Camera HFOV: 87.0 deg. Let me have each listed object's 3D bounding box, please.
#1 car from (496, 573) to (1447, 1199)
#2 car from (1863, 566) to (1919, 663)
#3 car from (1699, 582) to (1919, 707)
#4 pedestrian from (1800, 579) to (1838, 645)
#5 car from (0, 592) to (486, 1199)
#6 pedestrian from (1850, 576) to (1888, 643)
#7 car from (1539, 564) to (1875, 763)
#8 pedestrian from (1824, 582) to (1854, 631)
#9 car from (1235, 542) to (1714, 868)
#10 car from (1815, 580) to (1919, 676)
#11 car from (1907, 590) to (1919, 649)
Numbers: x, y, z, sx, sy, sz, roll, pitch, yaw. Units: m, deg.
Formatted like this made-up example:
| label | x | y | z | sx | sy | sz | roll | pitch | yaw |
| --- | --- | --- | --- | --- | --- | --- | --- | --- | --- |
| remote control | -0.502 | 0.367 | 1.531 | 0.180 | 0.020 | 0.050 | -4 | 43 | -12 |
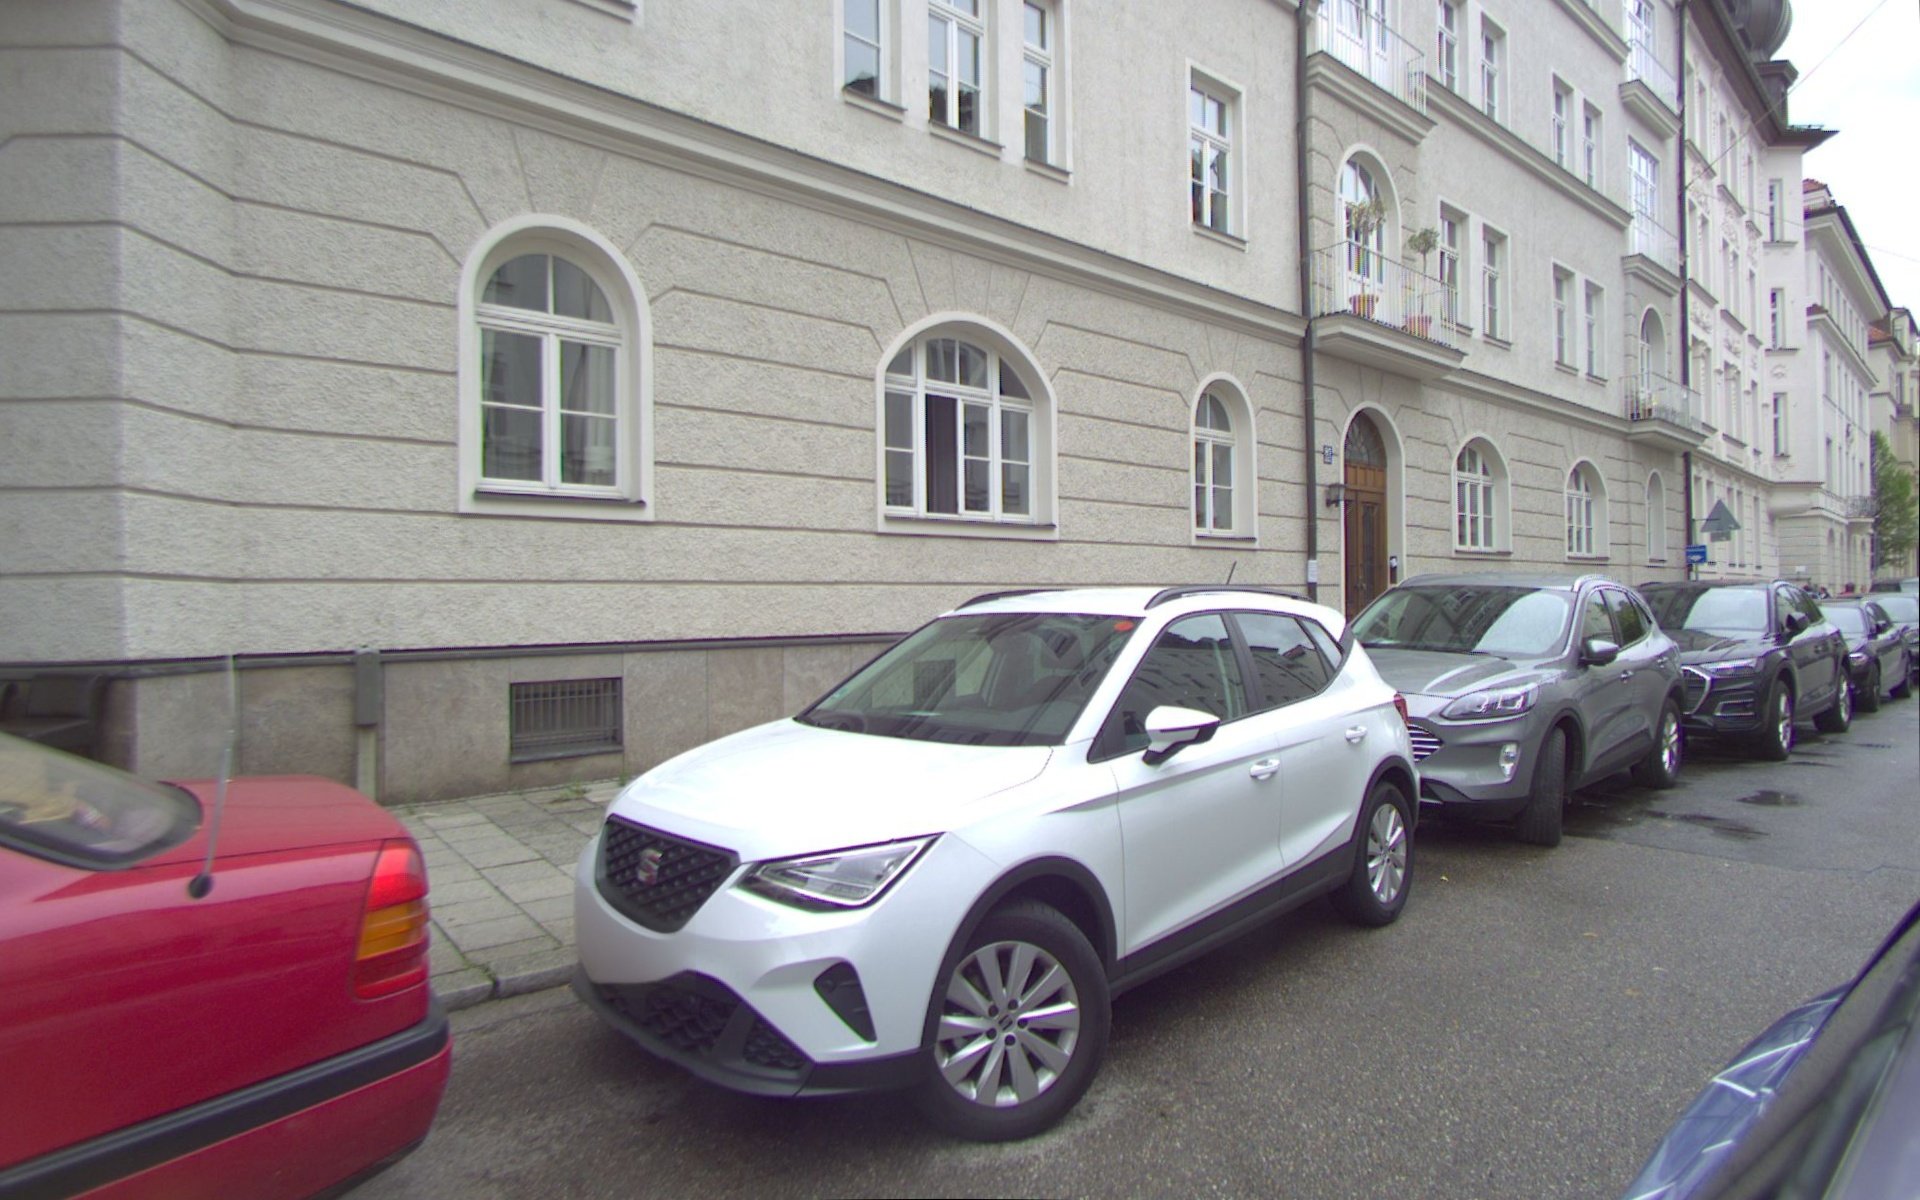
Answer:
| label | x | y | z | sx | sy | sz | roll | pitch | yaw |
| --- | --- | --- | --- | --- | --- | --- | --- | --- | --- |
| car | 0.393 | 0.689 | 4.184 | 1.751 | 1.515 | 3.847 | -1 | 0 | 45 |
| car | 20.635 | 0.261 | 21.294 | 4.634 | 1.909 | 1.912 | -1 | -2 | -43 |
| car | 11.953 | 0.526 | 14.072 | 4.125 | 1.489 | 1.710 | 0 | 0 | -39 |
| pedestrian | 22.895 | 0.306 | 26.981 | 0.643 | 1.695 | 0.680 | 0 | 1 | -44 |
| car | -3.046 | 0.739 | 1.282 | 4.141 | 1.453 | 1.671 | 0 | -1 | -42 |
| pedestrian | 23.989 | 0.235 | 26.720 | 0.692 | 1.750 | 0.703 | 0 | 0 | -44 |
| car | 7.874 | 0.537 | 10.516 | 4.297 | 1.657 | 1.780 | 0 | -1 | -39 |
| pedestrian | 30.909 | 0.219 | 35.597 | 0.798 | 1.700 | 0.683 | 1 | 1 | -43 |
| car | 4.027 | 0.540 | 7.541 | 4.351 | 1.735 | 1.791 | -1 | 0 | -43 |
| car | 16.573 | 0.456 | 17.950 | 3.574 | 1.545 | 1.657 | 0 | -1 | -42 |
| car | 25.043 | 0.428 | 25.230 | 3.519 | 1.413 | 1.666 | -1 | -2 | -40 |
